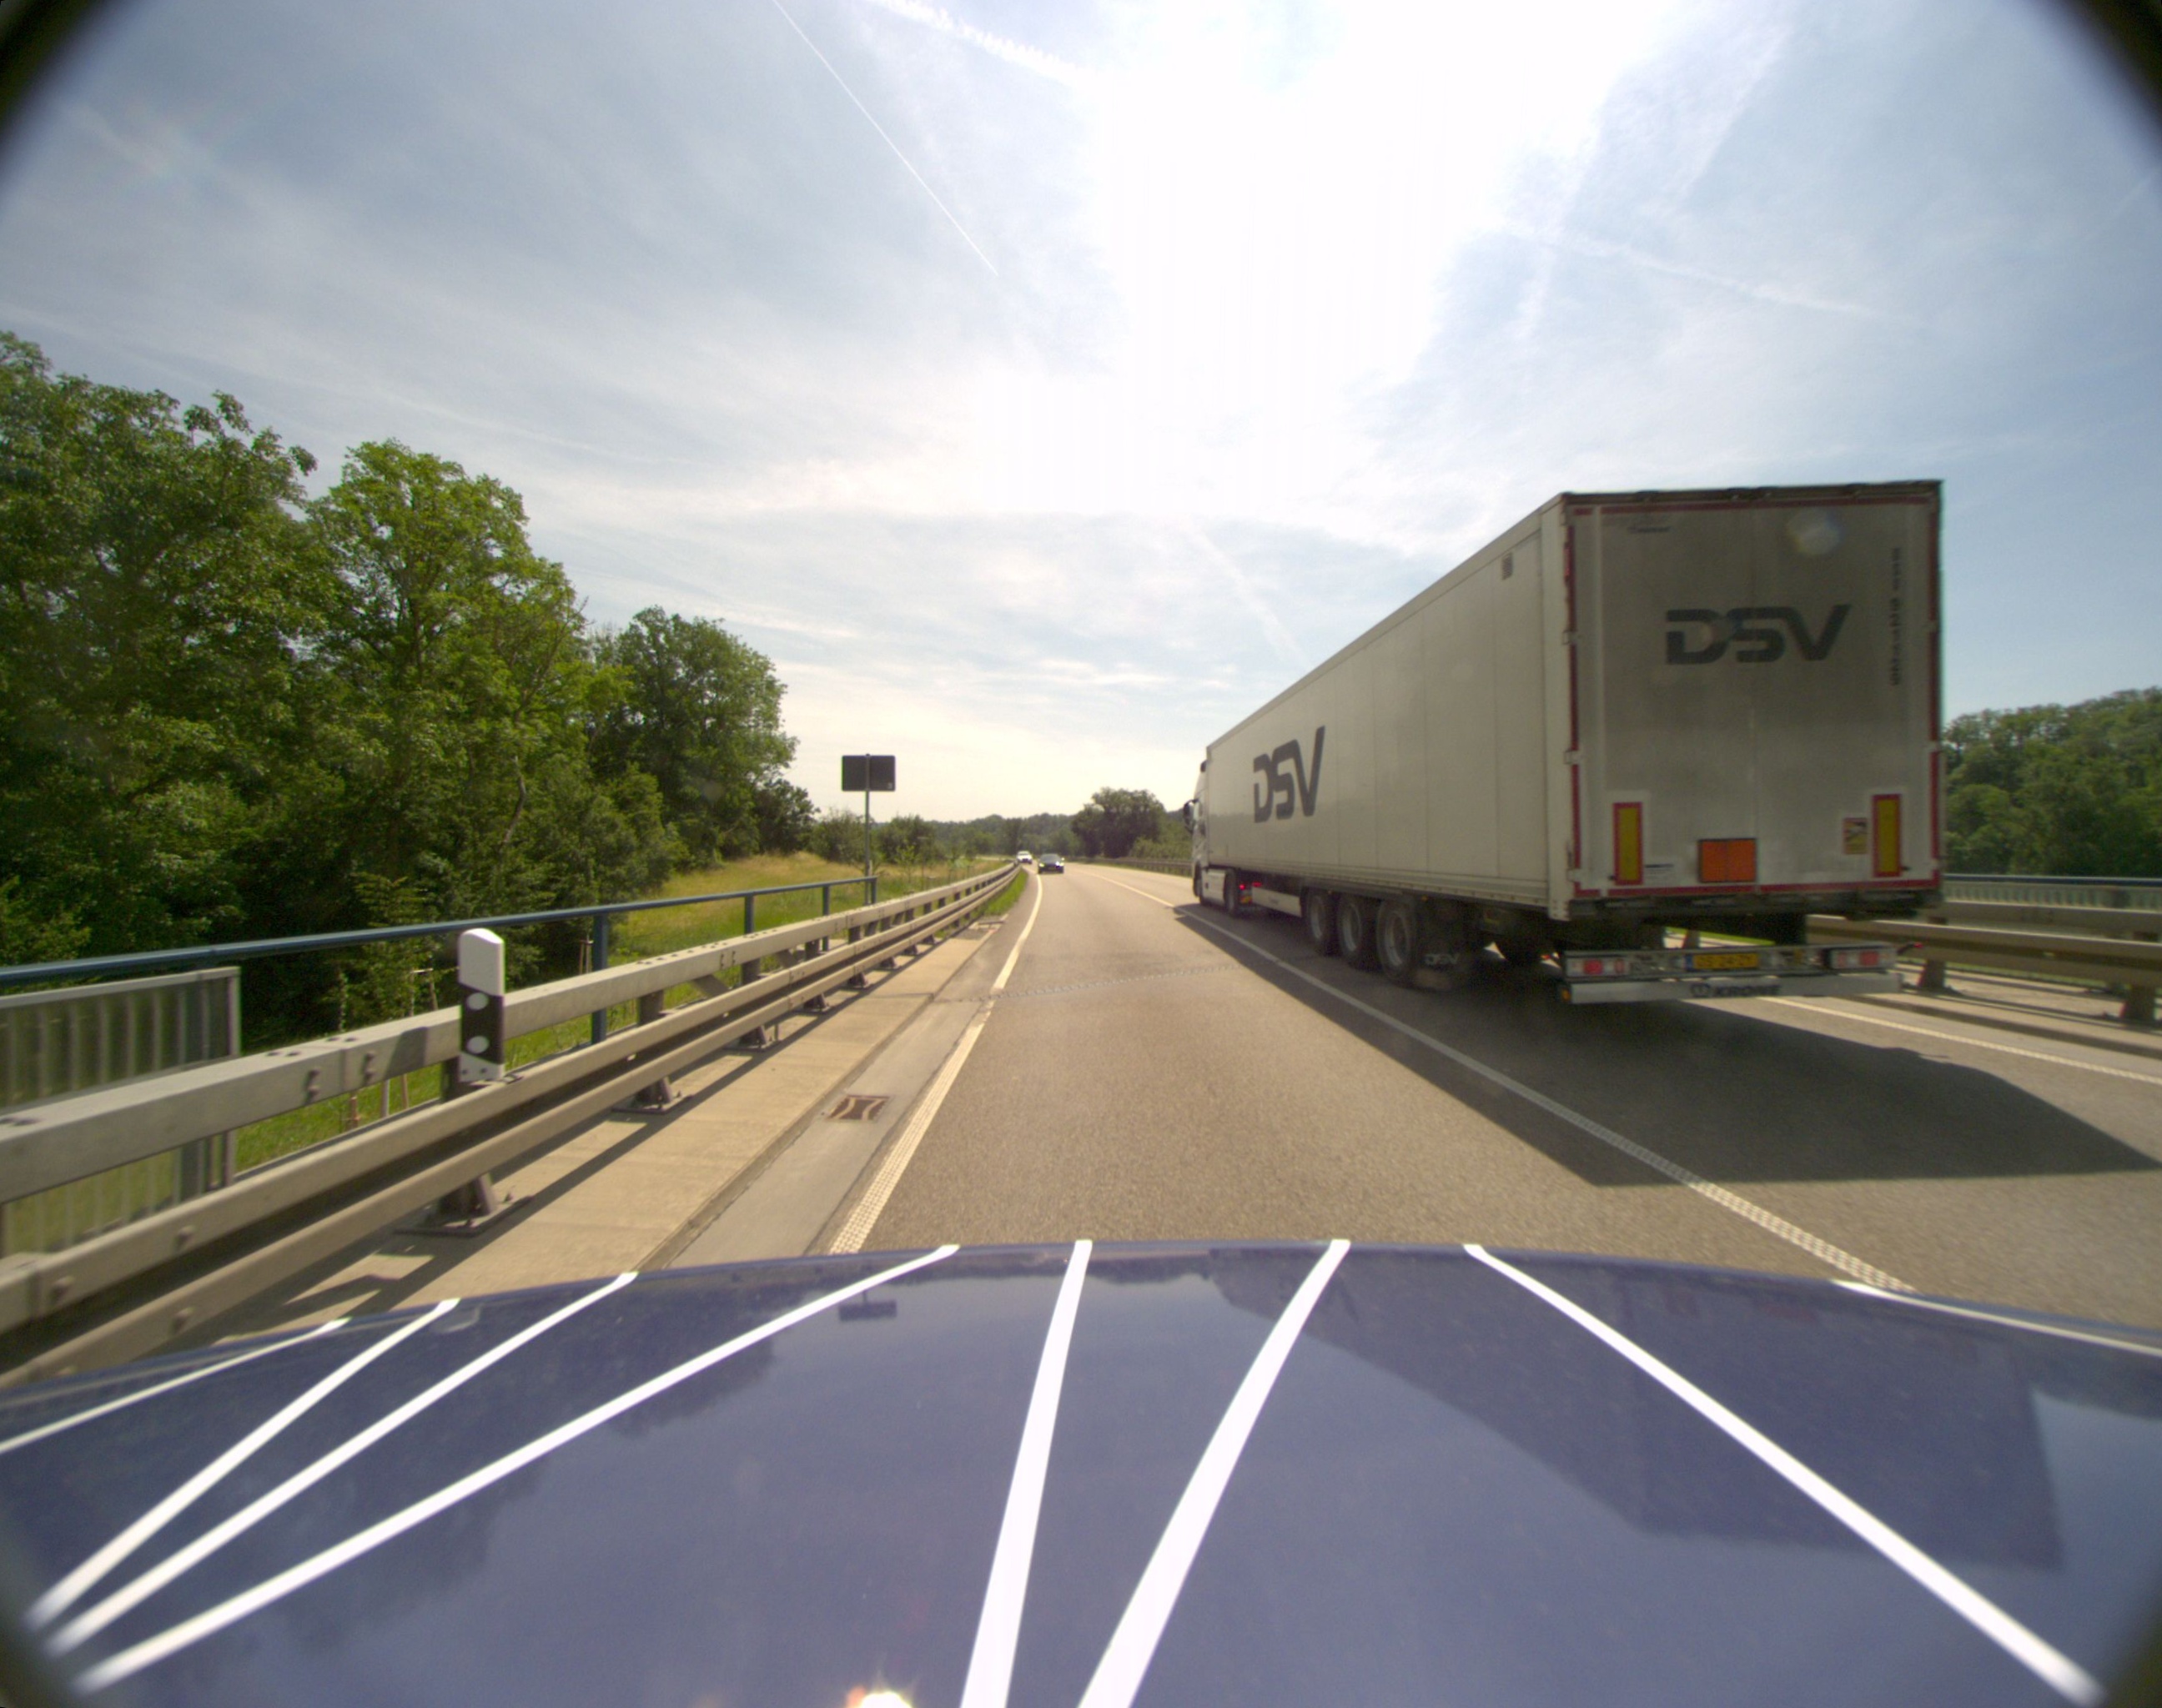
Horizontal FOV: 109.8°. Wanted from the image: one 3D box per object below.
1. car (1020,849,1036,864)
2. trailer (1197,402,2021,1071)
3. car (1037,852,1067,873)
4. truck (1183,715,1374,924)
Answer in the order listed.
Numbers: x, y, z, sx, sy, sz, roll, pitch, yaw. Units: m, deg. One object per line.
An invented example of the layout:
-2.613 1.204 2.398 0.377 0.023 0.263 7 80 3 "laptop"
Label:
-6.834 0.316 98.335 1.981 1.779 3.997 -2 1 -5 "car"
4.485 -0.719 12.091 2.860 4.163 14.496 -2 0 0 "trailer"
-2.146 0.592 55.741 1.981 1.333 3.997 -2 1 -5 "car"
4.431 -0.697 18.561 2.853 4.136 6.330 -2 0 0 "truck"
